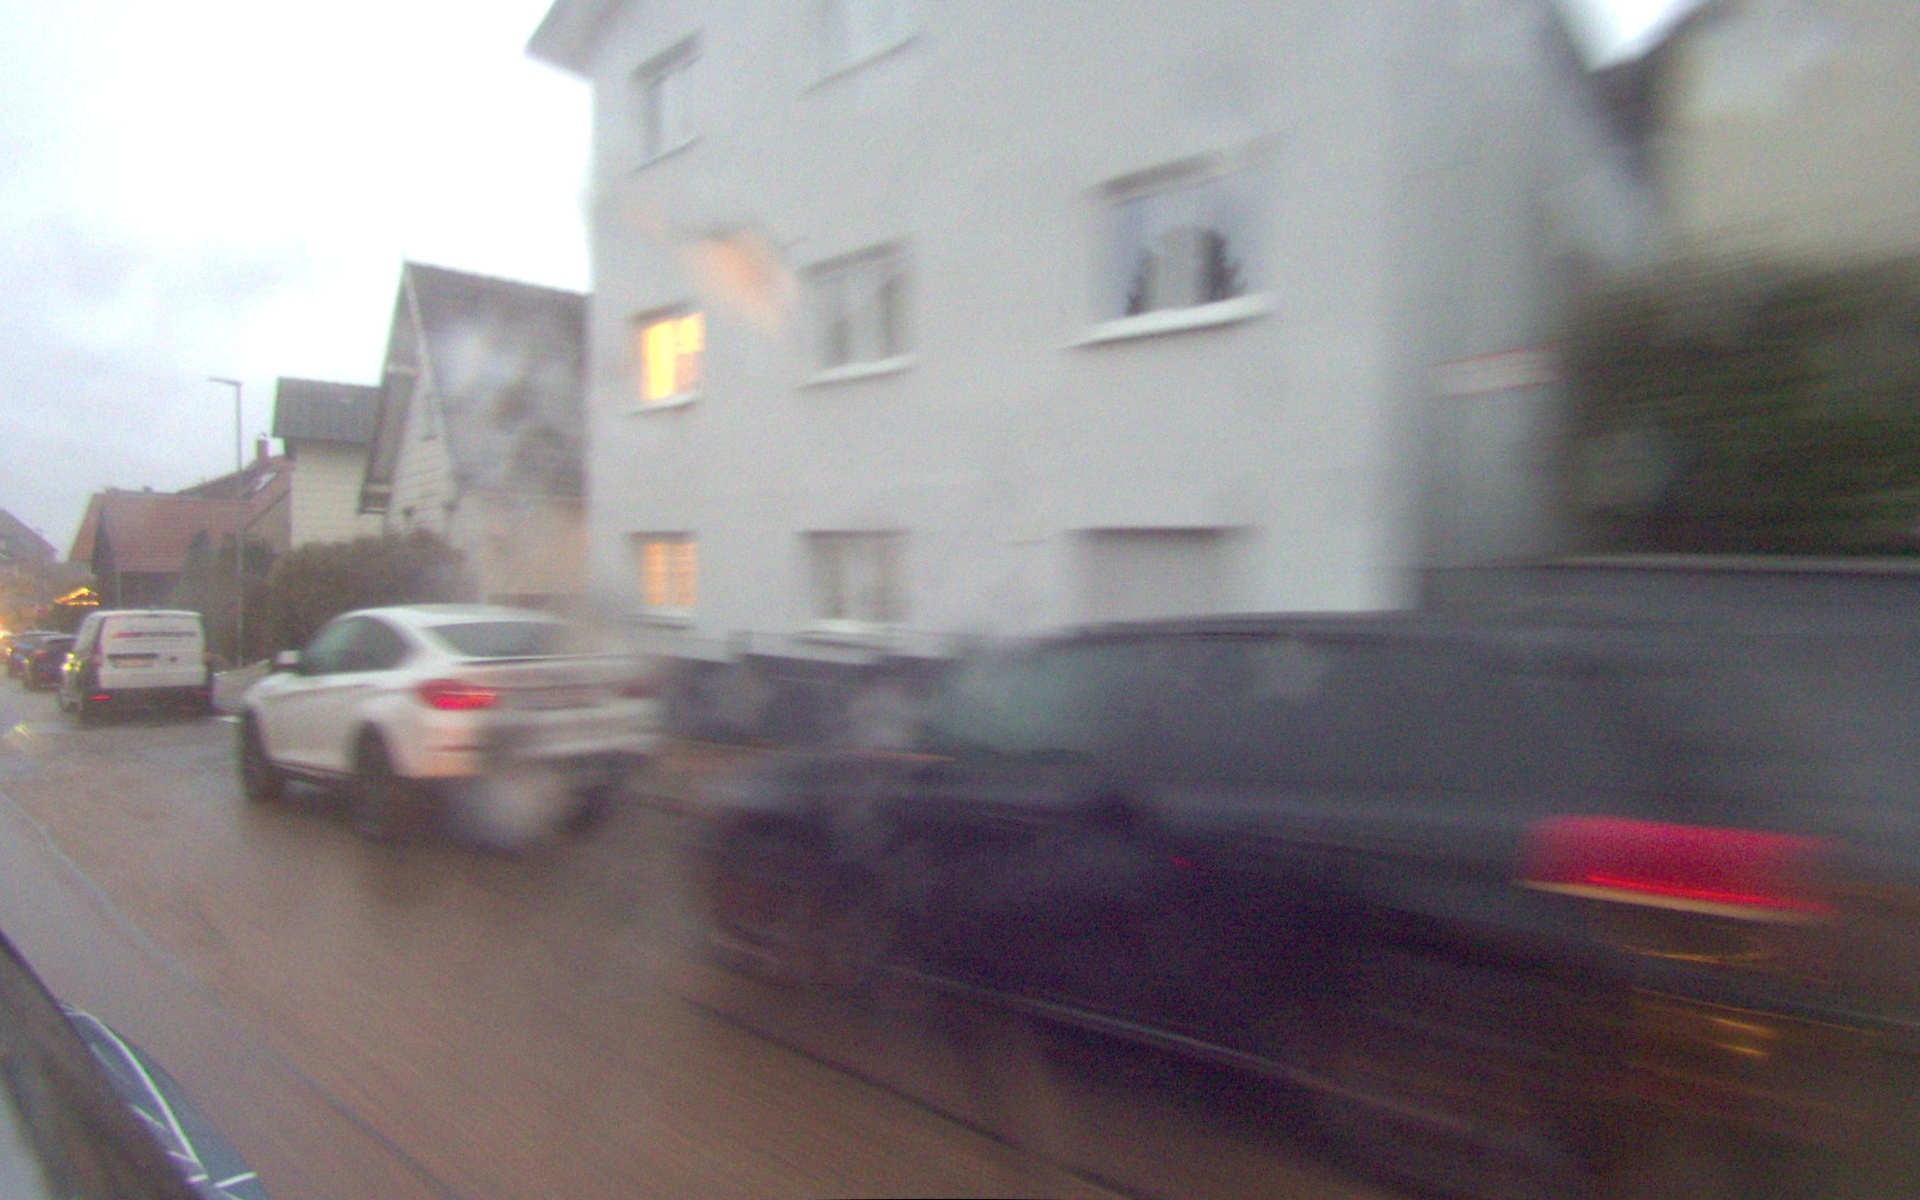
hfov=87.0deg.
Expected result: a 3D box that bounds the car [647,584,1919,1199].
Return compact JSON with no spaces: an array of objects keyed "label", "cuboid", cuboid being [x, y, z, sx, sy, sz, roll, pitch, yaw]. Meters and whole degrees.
[{"label":"car","cuboid":[0.762,0.739,3.741,4.029,1.447,1.717,-1,-2,39]}]

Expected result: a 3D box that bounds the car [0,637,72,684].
[{"label":"car","cuboid":[-32.939,2.109,35.974,4.001,1.564,1.743,-2,-3,44]}]

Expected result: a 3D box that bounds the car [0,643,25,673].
[{"label":"car","cuboid":[-48.970,2.921,51.477,3.729,1.422,1.698,-1,-2,41]}]

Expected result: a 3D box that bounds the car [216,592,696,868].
[{"label":"car","cuboid":[-4.240,0.823,8.186,4.419,1.636,1.898,-1,-2,40]}]

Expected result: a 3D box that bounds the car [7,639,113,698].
[{"label":"car","cuboid":[-24.535,1.807,27.551,4.001,1.477,1.805,-2,-3,44]}]

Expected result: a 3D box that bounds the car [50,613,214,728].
[{"label":"car","cuboid":[-14.820,1.182,18.039,4.129,1.806,1.751,-2,-3,44]}]

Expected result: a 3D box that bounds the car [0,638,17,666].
[{"label":"car","cuboid":[-57.856,3.091,60.544,3.729,1.638,1.698,-1,-2,41]}]

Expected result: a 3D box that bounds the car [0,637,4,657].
[{"label":"car","cuboid":[-86.720,4.250,90.097,1.766,1.787,3.898,1,-2,-36]}]
